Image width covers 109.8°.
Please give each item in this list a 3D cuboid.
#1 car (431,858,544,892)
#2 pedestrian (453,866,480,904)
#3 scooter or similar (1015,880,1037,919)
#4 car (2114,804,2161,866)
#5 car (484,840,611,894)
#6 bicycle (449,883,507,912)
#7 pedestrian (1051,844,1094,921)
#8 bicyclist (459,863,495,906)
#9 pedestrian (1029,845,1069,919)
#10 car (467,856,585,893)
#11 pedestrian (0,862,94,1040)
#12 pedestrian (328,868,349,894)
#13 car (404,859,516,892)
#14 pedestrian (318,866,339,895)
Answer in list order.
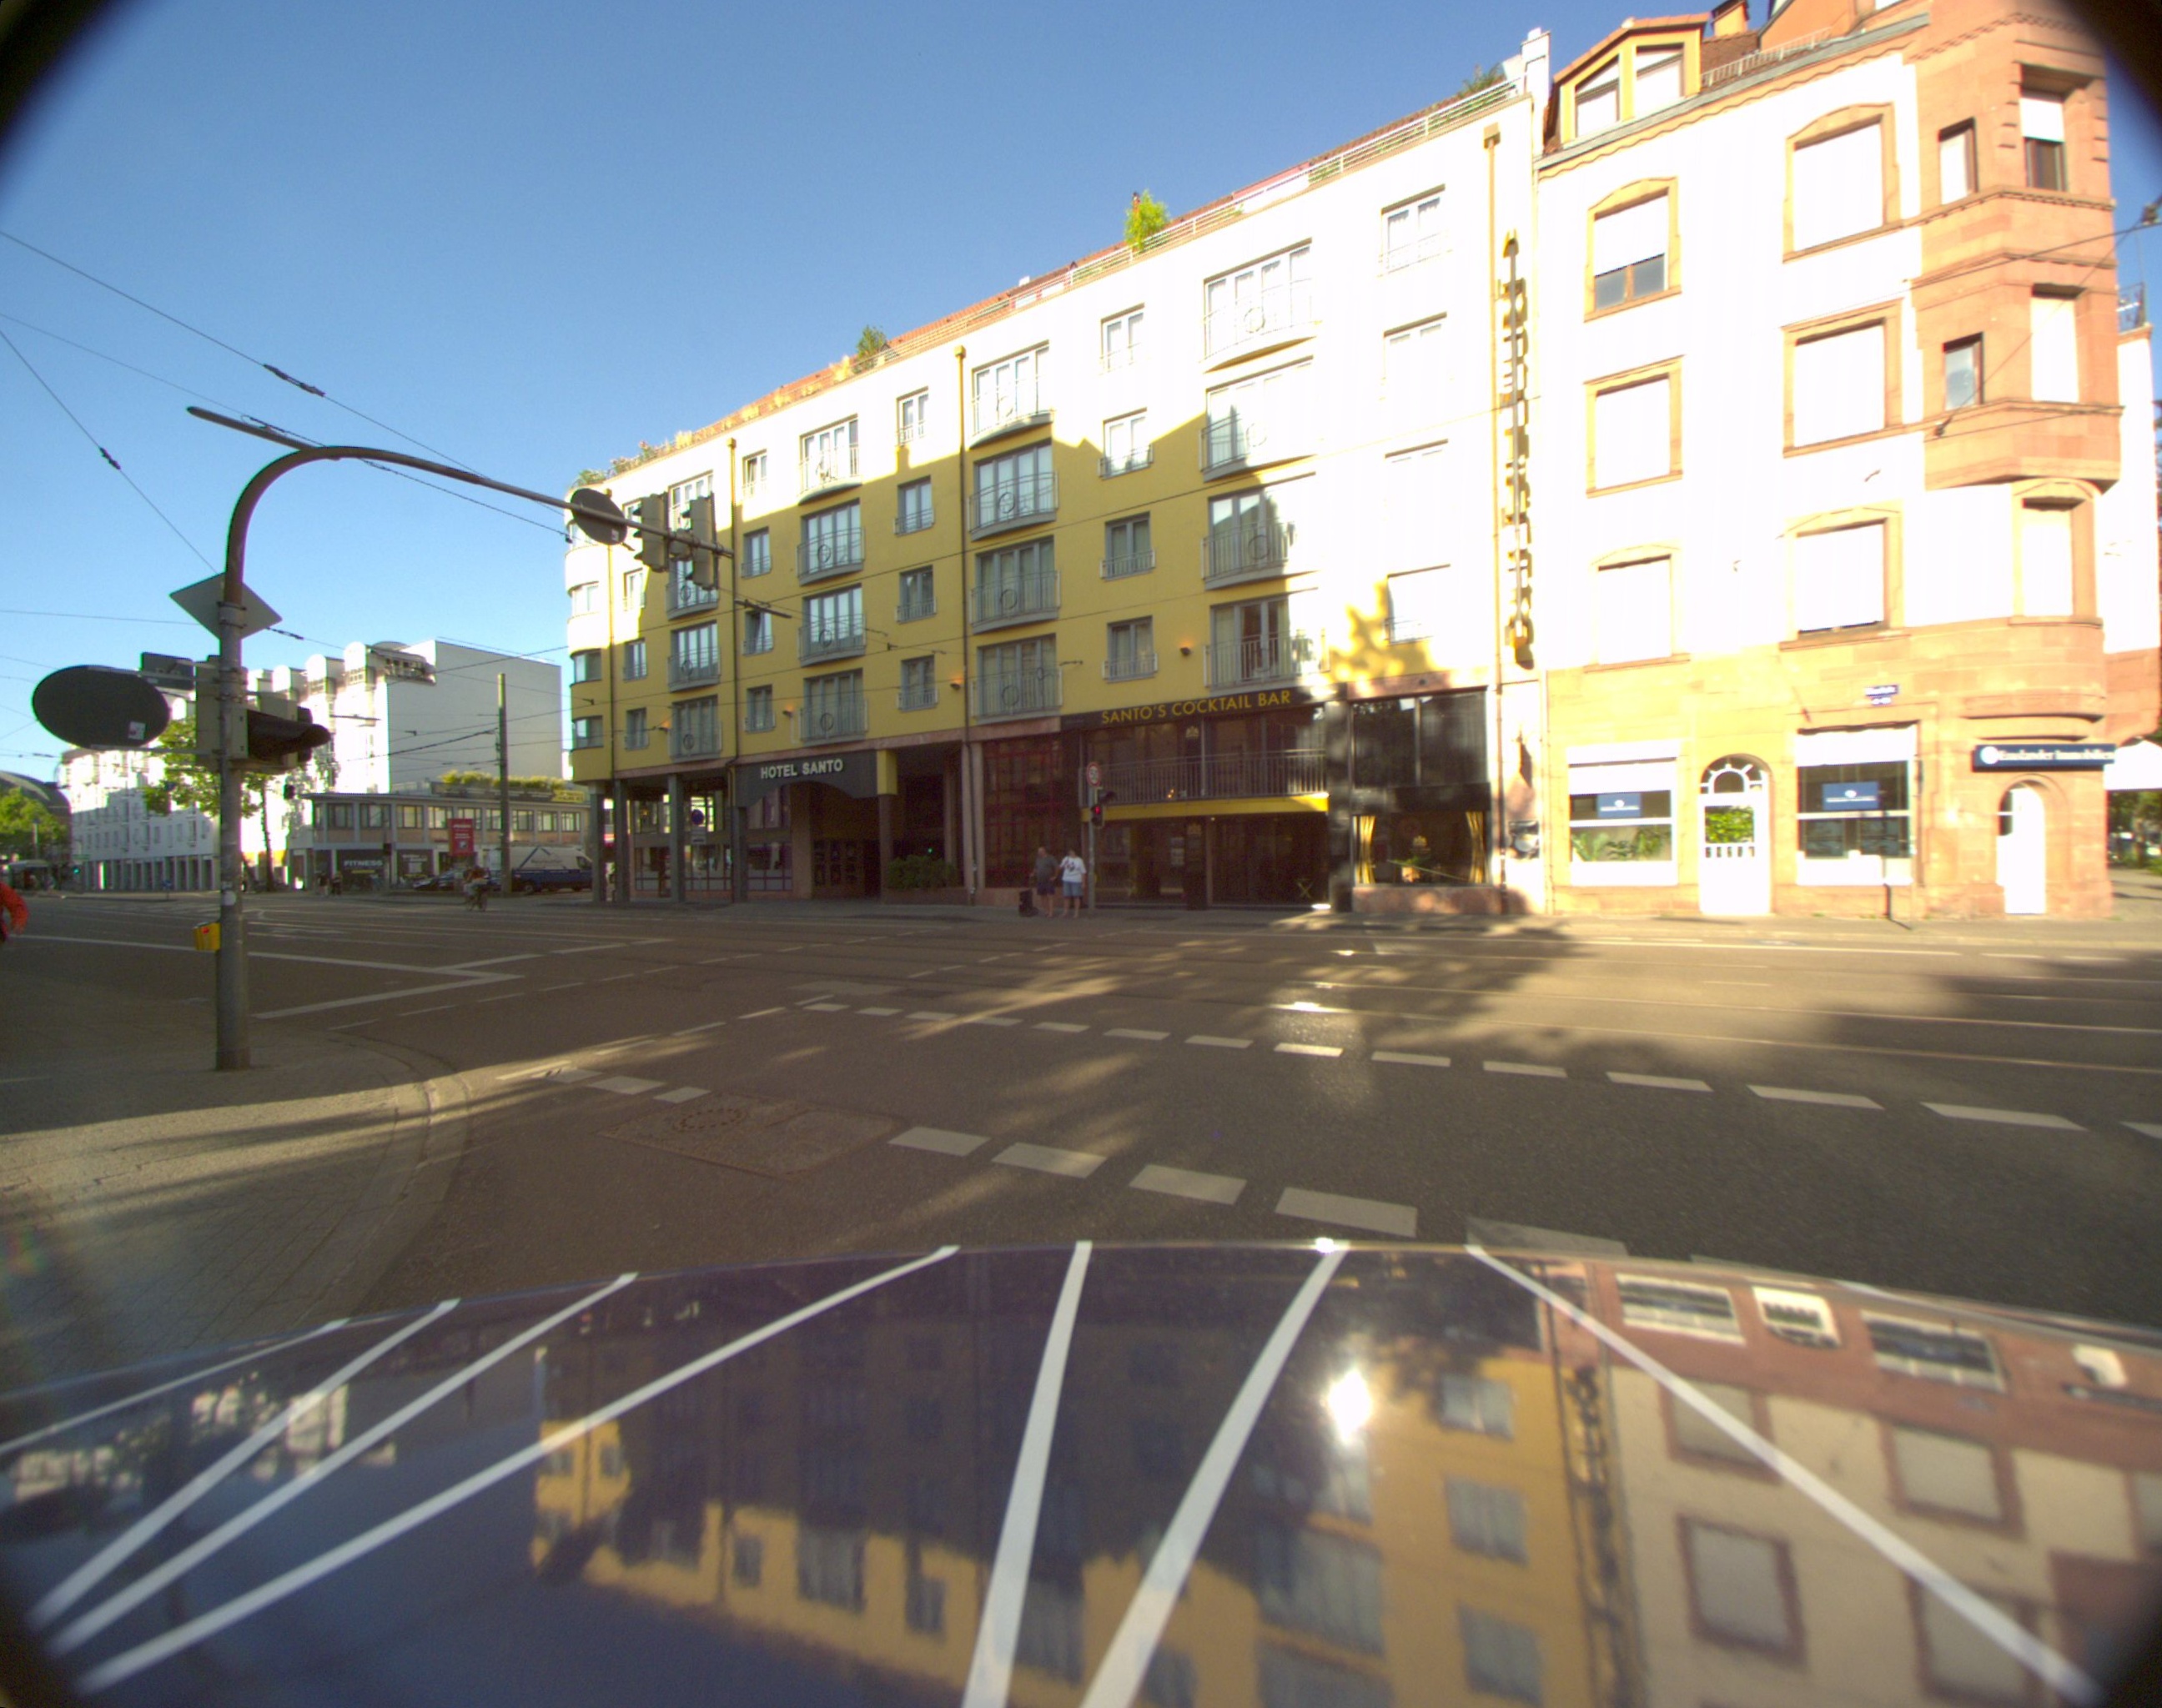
[{"bbox_3d":[-35.013,1.202,44.968,2.054,1.826,4.828,-1,0,30],"label":"car"},{"bbox_3d":[-28.529,1.433,35.281,0.688,1.685,0.727,-1,1,26],"label":"pedestrian"},{"bbox_3d":[-1.428,1.173,19.679,0.356,0.972,0.423,-1,4,26],"label":"scooter or similar"},{"bbox_3d":[58.907,-1.059,40.581,8.099,3.160,3.317,-1,0,-45],"label":"car"},{"bbox_3d":[-28.649,0.657,41.034,2.054,2.742,5.158,-1,0,30],"label":"car"},{"bbox_3d":[-22.009,1.597,27.735,1.959,0.998,0.680,-1,0,18],"label":"bicycle"},{"bbox_3d":[-0.213,0.705,19.079,0.733,1.831,0.728,-1,4,28],"label":"pedestrian"},{"bbox_3d":[-22.033,1.109,27.731,0.754,1.511,0.680,-1,1,19],"label":"bicyclist"},{"bbox_3d":[-0.825,0.721,19.670,0.677,1.831,0.728,-1,4,28],"label":"pedestrian"},{"bbox_3d":[-30.794,1.096,42.319,2.054,1.826,4.828,-1,0,30],"label":"car"},{"bbox_3d":[-10.707,0.934,7.537,1.170,1.670,1.009,-1,0,34],"label":"pedestrian"},{"bbox_3d":[-45.843,1.658,46.905,0.897,1.597,0.618,-1,1,25],"label":"pedestrian"},{"bbox_3d":[-37.627,1.276,46.193,2.054,1.826,4.828,-1,0,30],"label":"car"},{"bbox_3d":[-45.230,1.584,45.667,0.897,1.719,0.618,-1,1,25],"label":"pedestrian"}]
